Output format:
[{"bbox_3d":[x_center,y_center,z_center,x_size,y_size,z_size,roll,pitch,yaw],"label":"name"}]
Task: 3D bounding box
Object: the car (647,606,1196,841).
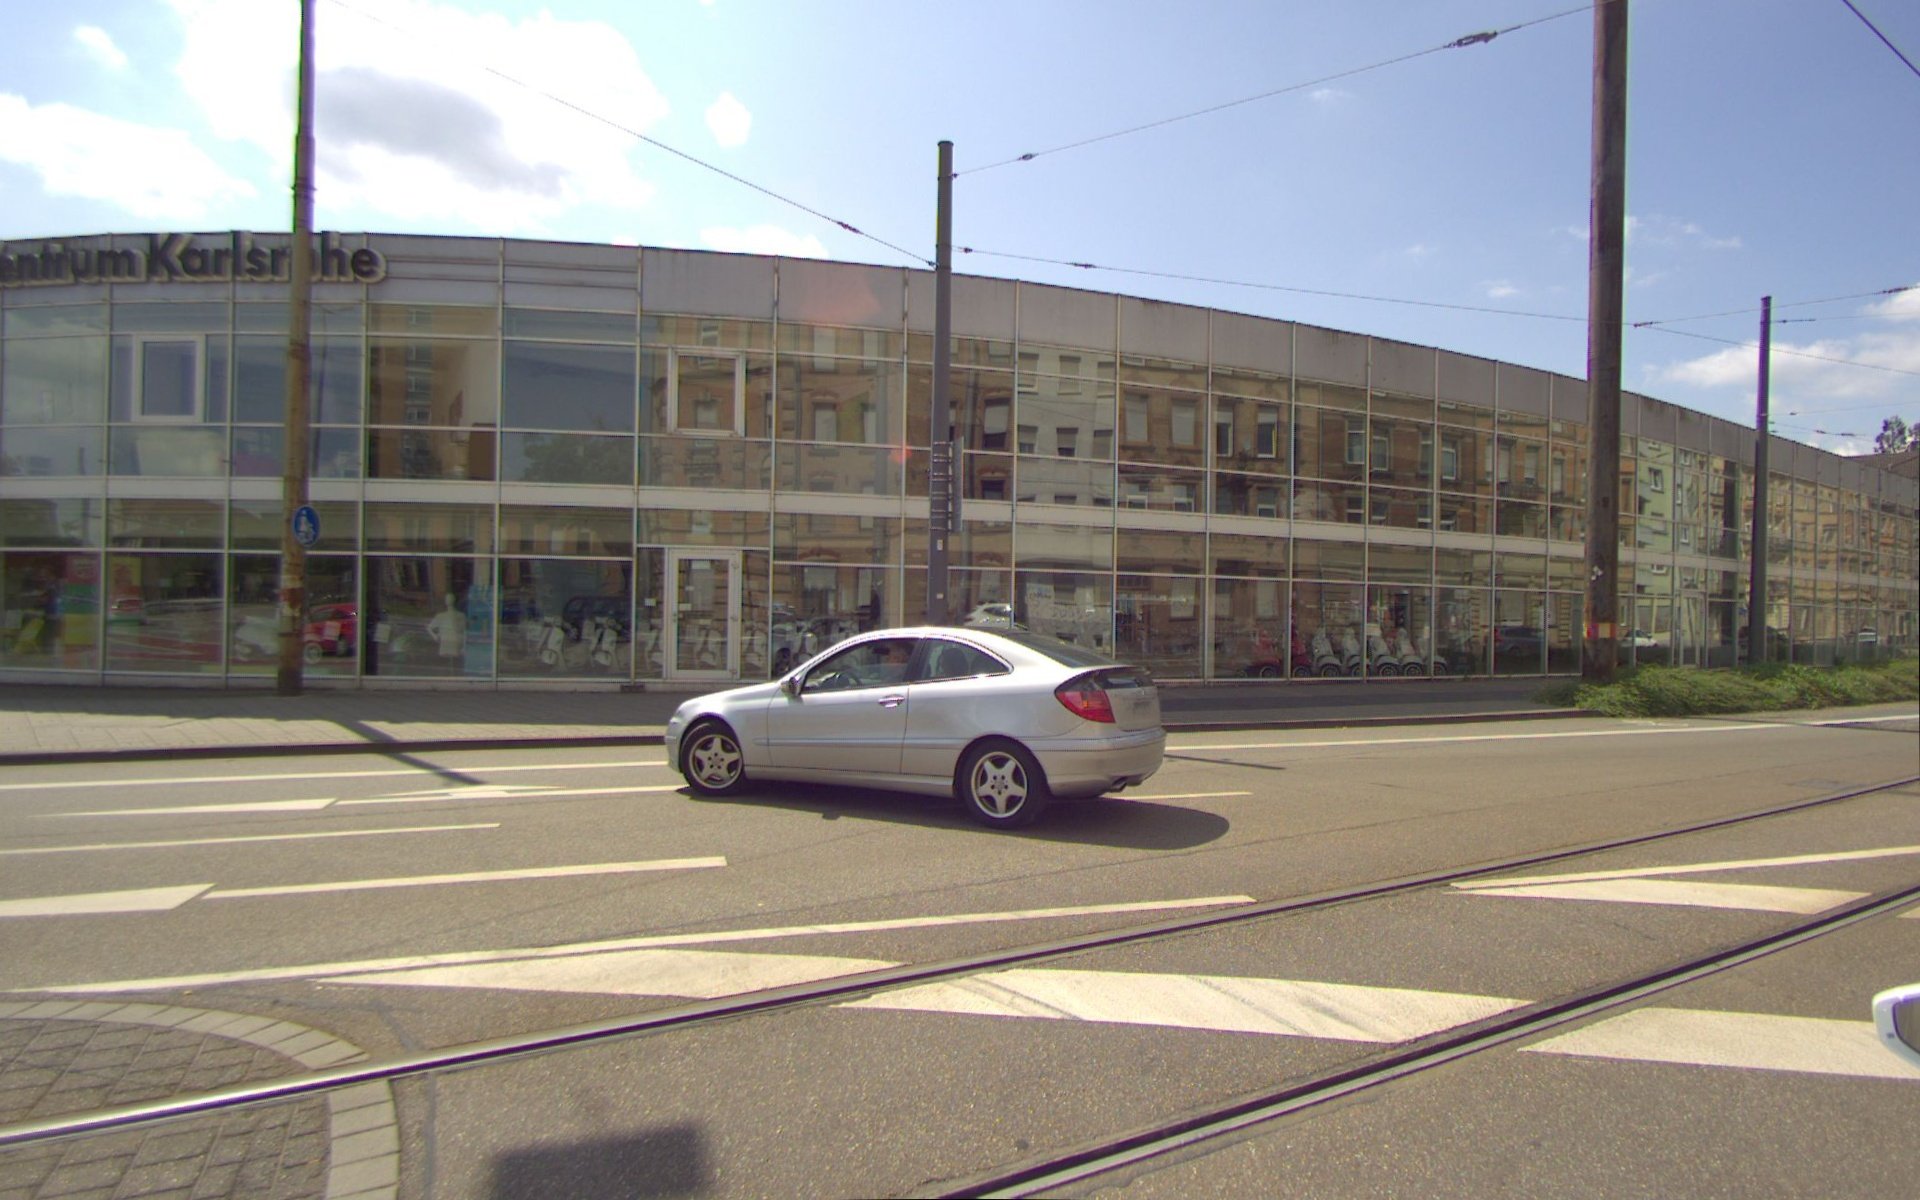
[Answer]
[{"bbox_3d":[-0.377,0.802,8.152,4.113,1.439,1.817,1,-1,30],"label":"car"}]
